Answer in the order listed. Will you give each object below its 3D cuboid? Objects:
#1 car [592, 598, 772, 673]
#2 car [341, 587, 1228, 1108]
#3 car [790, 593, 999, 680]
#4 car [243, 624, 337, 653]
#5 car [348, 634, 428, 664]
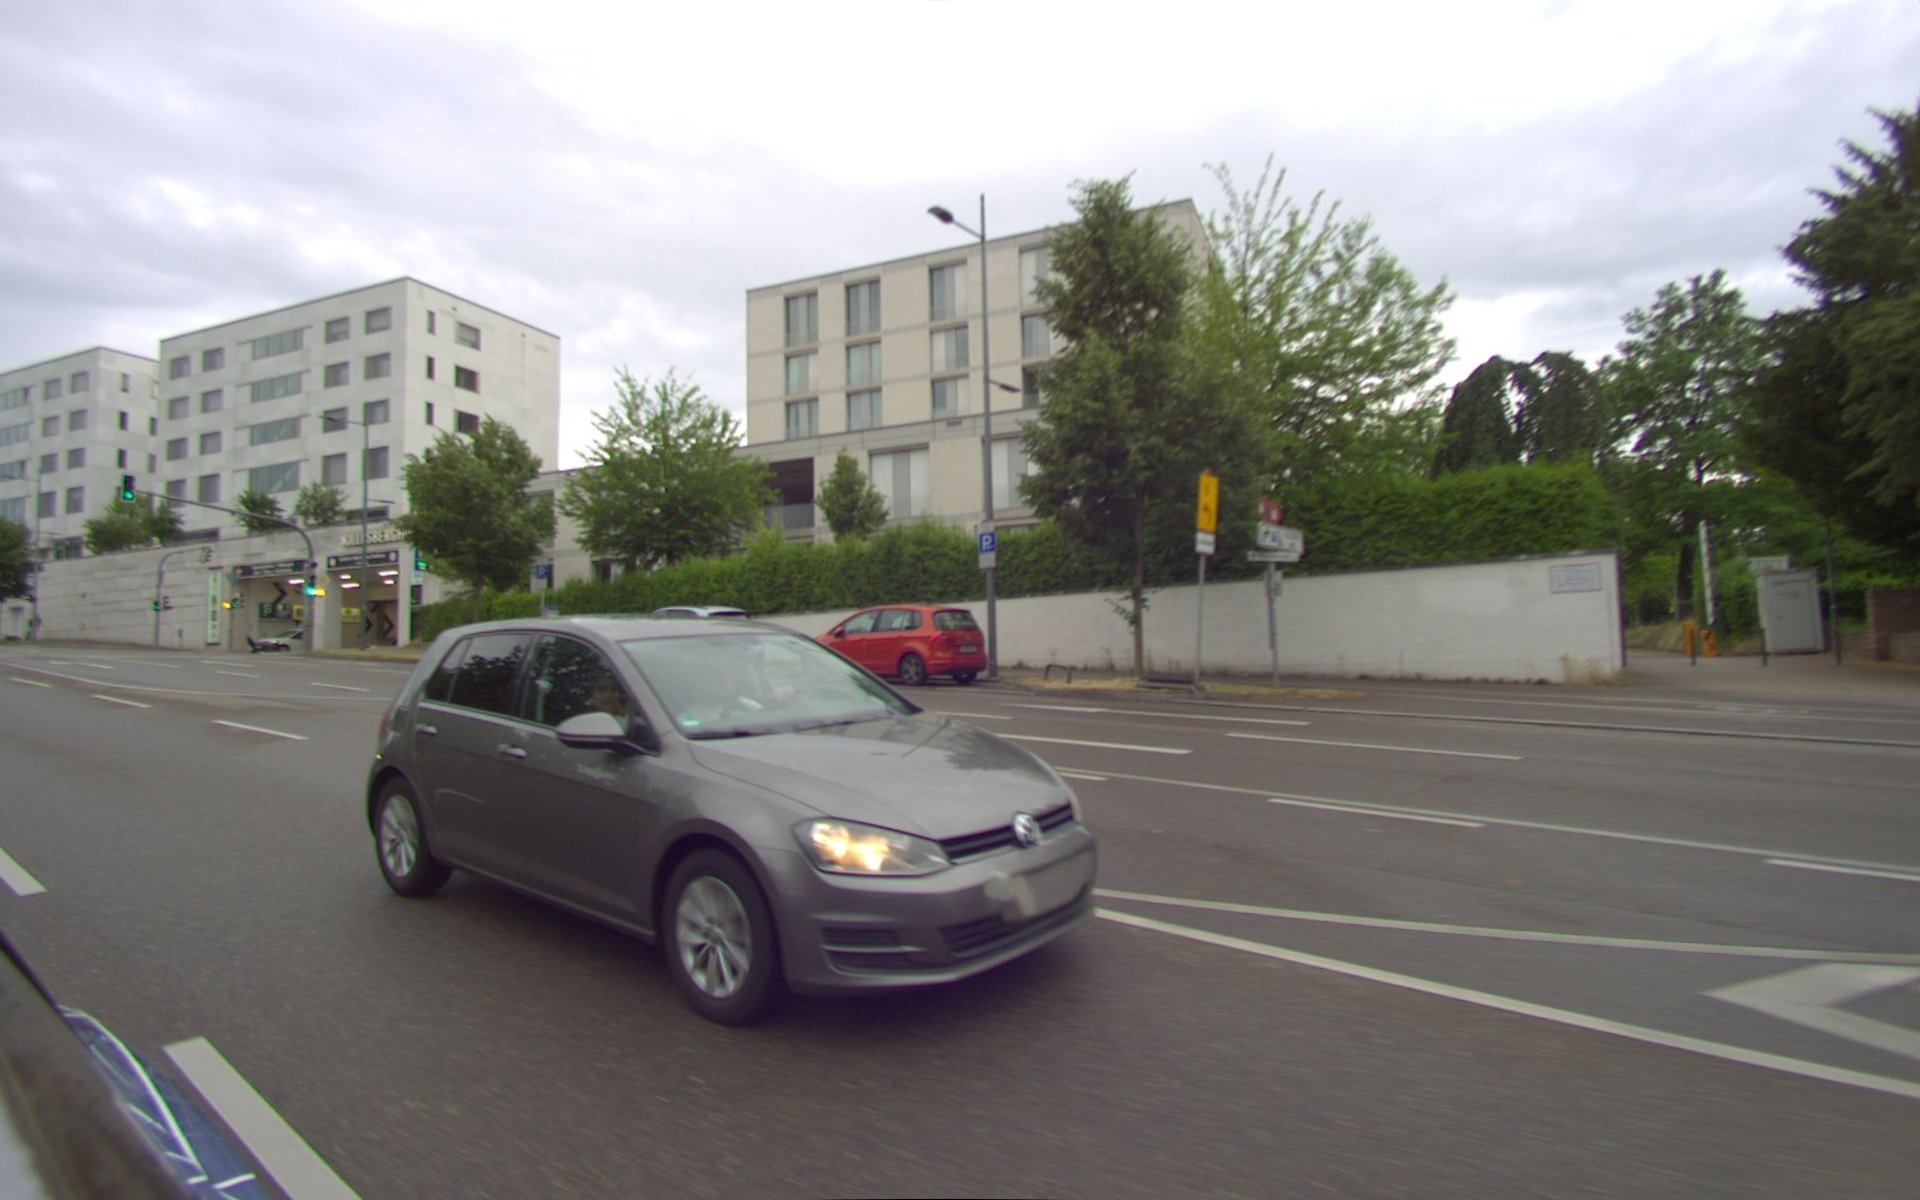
[{"bbox_3d":[-6.884,0.828,24.796,4.878,1.666,1.746,-1,-1,39],"label":"car"},{"bbox_3d":[-1.110,0.709,4.917,4.290,1.452,1.854,-1,1,38],"label":"car"},{"bbox_3d":[-1.382,0.718,20.396,4.212,1.599,1.648,-1,-3,39],"label":"car"},{"bbox_3d":[-40.100,2.341,60.652,1.986,1.664,4.315,0,-3,21],"label":"car"},{"bbox_3d":[-35.513,3.042,62.929,1.790,1.785,3.966,0,-3,24],"label":"car"}]
